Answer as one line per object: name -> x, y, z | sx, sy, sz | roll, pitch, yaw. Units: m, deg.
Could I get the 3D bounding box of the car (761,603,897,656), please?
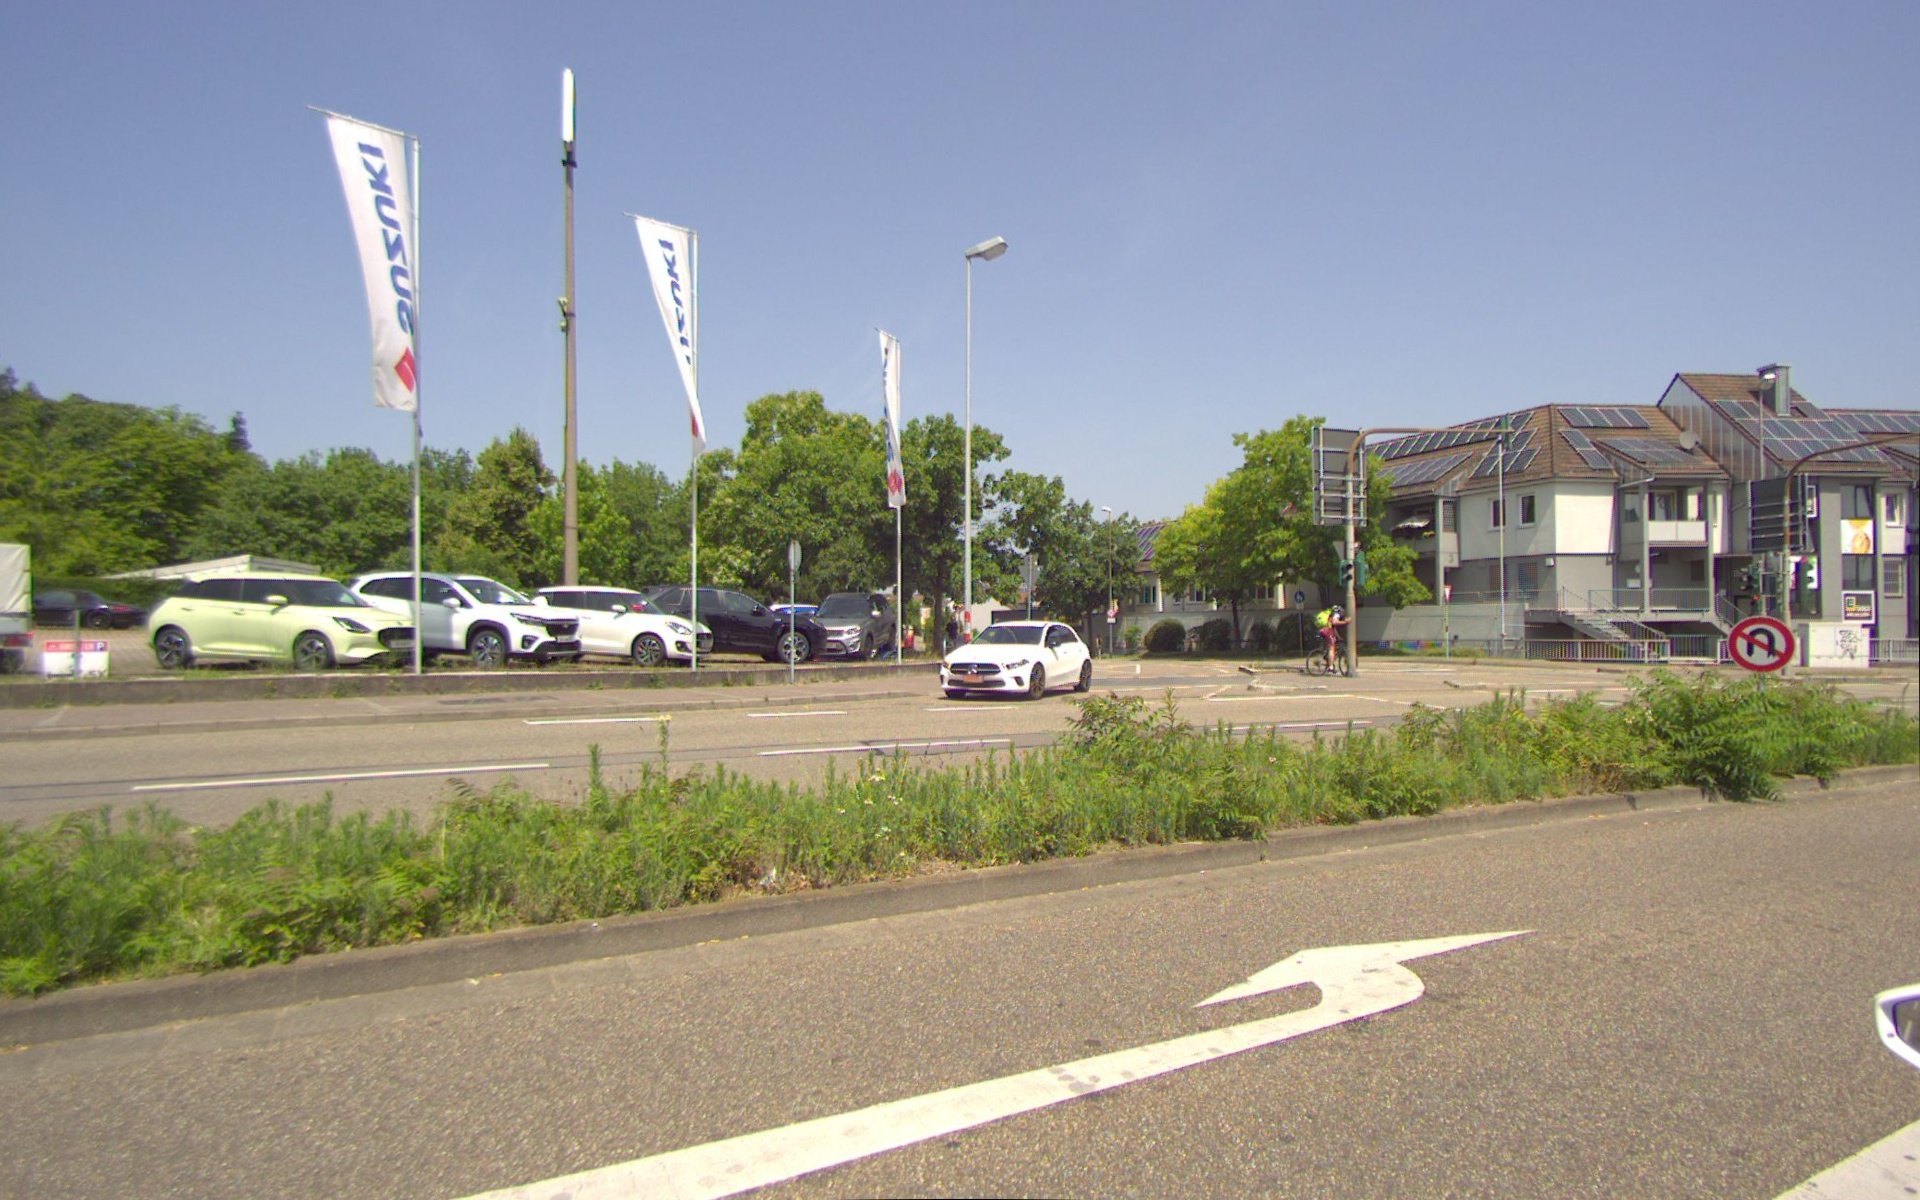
car -> -4.215, 0.946, 32.298 | 3.946, 1.557, 1.784 | 2, 0, -25

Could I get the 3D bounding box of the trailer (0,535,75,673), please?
trailer -> -13.116, 0.030, 12.900 | 2.387, 1.726, 1.693 | 1, 0, 21

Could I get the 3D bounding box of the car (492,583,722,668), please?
car -> -6.861, 0.490, 19.649 | 3.882, 1.451, 1.717 | 2, -2, 13

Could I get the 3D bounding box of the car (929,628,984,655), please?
car -> -0.251, 2.504, 60.048 | 1.973, 1.505, 4.424 | 0, -3, -19

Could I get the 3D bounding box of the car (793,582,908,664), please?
car -> -2.800, 0.656, 26.667 | 1.792, 1.926, 4.313 | 2, -2, 11

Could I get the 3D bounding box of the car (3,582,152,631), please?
car -> -27.414, 0.214, 31.341 | 3.320, 1.392, 1.638 | 2, 0, -38

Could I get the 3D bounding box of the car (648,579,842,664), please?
car -> -4.905, 0.519, 22.909 | 3.963, 1.746, 1.833 | 3, -2, -27

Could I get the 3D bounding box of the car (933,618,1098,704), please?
car -> 1.201, 1.094, 19.371 | 1.838, 1.443, 4.266 | -1, -1, 23

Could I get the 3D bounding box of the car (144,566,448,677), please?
car -> -10.316, 0.311, 15.730 | 3.742, 1.530, 1.759 | 2, 0, 9

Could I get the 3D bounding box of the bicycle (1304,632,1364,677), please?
bicycle -> 9.515, 1.366, 25.527 | 1.768, 1.068, 0.418 | 0, 1, -30

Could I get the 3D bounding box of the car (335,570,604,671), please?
car -> -8.568, 0.332, 17.678 | 3.882, 1.561, 1.920 | 2, 0, 14

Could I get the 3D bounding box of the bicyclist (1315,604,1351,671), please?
bicyclist -> 9.473, 0.948, 25.483 | 0.811, 1.664, 0.419 | 0, 1, -31
